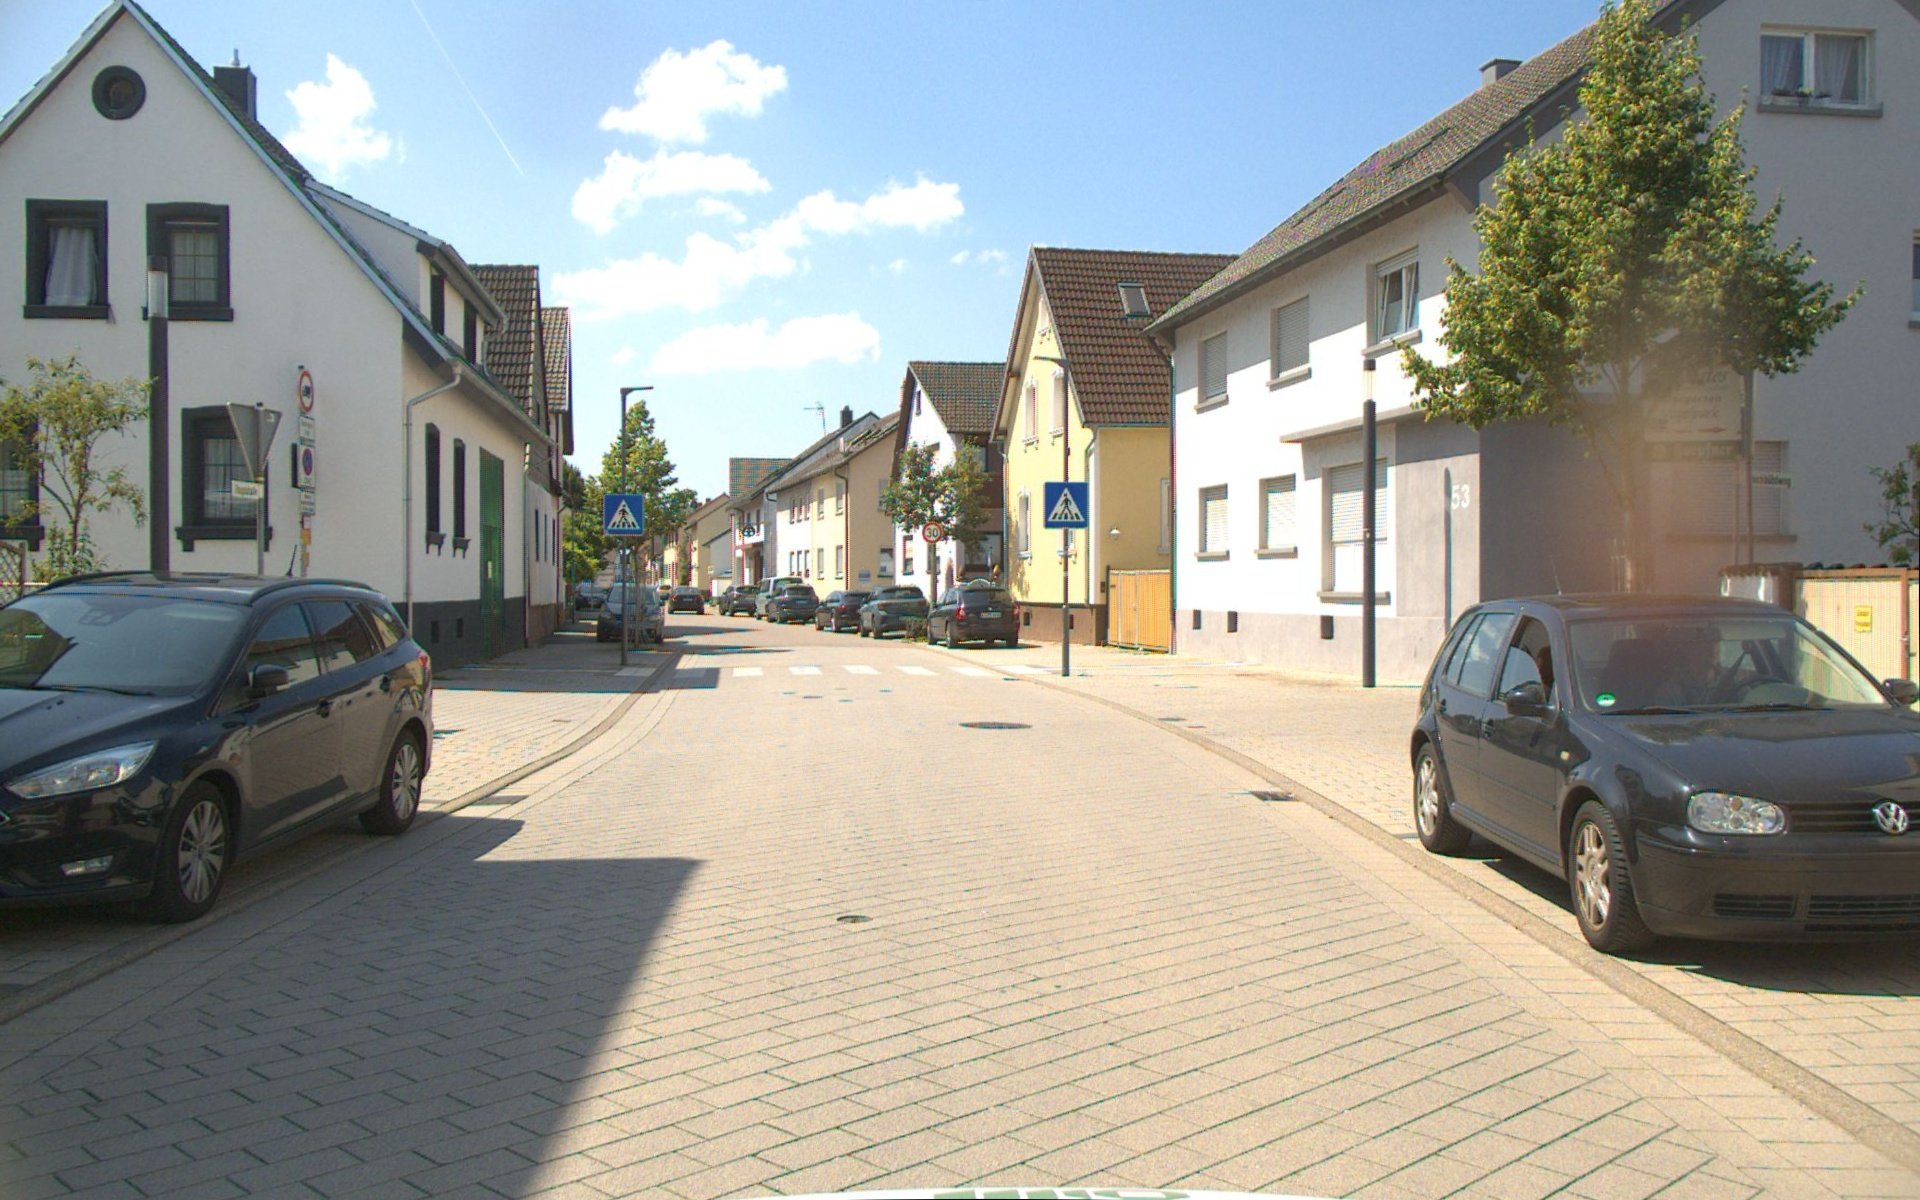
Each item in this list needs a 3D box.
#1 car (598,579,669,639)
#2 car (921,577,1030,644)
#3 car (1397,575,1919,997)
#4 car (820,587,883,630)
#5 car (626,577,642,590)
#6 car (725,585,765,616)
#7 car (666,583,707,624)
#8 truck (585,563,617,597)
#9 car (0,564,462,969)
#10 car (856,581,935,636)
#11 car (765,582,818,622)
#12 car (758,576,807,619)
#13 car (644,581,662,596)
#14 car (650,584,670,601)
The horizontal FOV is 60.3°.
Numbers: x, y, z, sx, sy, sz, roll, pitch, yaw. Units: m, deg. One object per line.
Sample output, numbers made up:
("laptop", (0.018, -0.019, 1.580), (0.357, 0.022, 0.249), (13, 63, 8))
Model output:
("car", (-8.892, 0.215, 45.257), (1.715, 1.556, 3.992), (1, 1, -9))
("car", (0.321, 0.238, 41.083), (1.797, 1.497, 4.263), (-3, 1, -12))
("car", (3.508, 0.631, 7.941), (1.723, 1.463, 4.120), (-1, 1, 0))
("car", (-3.832, 0.283, 57.908), (1.680, 1.411, 3.695), (-1, 1, -12))
("car", (-38.562, -1.976, 195.483), (1.659, 1.478, 3.779), (-1, 1, -14))
("car", (-11.130, 0.014, 85.515), (1.723, 1.519, 3.988), (-1, 1, -12))
("car", (-14.647, 0.142, 88.499), (1.959, 2.093, 4.360), (-1, 1, -12))
("truck", (-44.055, -2.439, 202.668), (3.505, 4.022, 8.548), (-1, 1, -15))
("car", (-4.094, 0.596, 8.436), (1.776, 1.516, 4.277), (1, 1, 0))
("car", (-1.995, 0.218, 50.450), (1.814, 1.590, 3.683), (-1, 1, -12))
("car", (-7.285, 0.062, 71.226), (1.844, 1.619, 3.988), (-1, 1, -12))
("car", (-8.254, -0.134, 76.786), (1.873, 1.904, 3.988), (-1, 1, -12))
("car", (-30.307, -1.132, 163.063), (1.658, 1.478, 3.782), (-1, 1, -12))
("car", (-27.160, -0.701, 149.819), (1.658, 1.478, 3.782), (-1, 1, -12))
